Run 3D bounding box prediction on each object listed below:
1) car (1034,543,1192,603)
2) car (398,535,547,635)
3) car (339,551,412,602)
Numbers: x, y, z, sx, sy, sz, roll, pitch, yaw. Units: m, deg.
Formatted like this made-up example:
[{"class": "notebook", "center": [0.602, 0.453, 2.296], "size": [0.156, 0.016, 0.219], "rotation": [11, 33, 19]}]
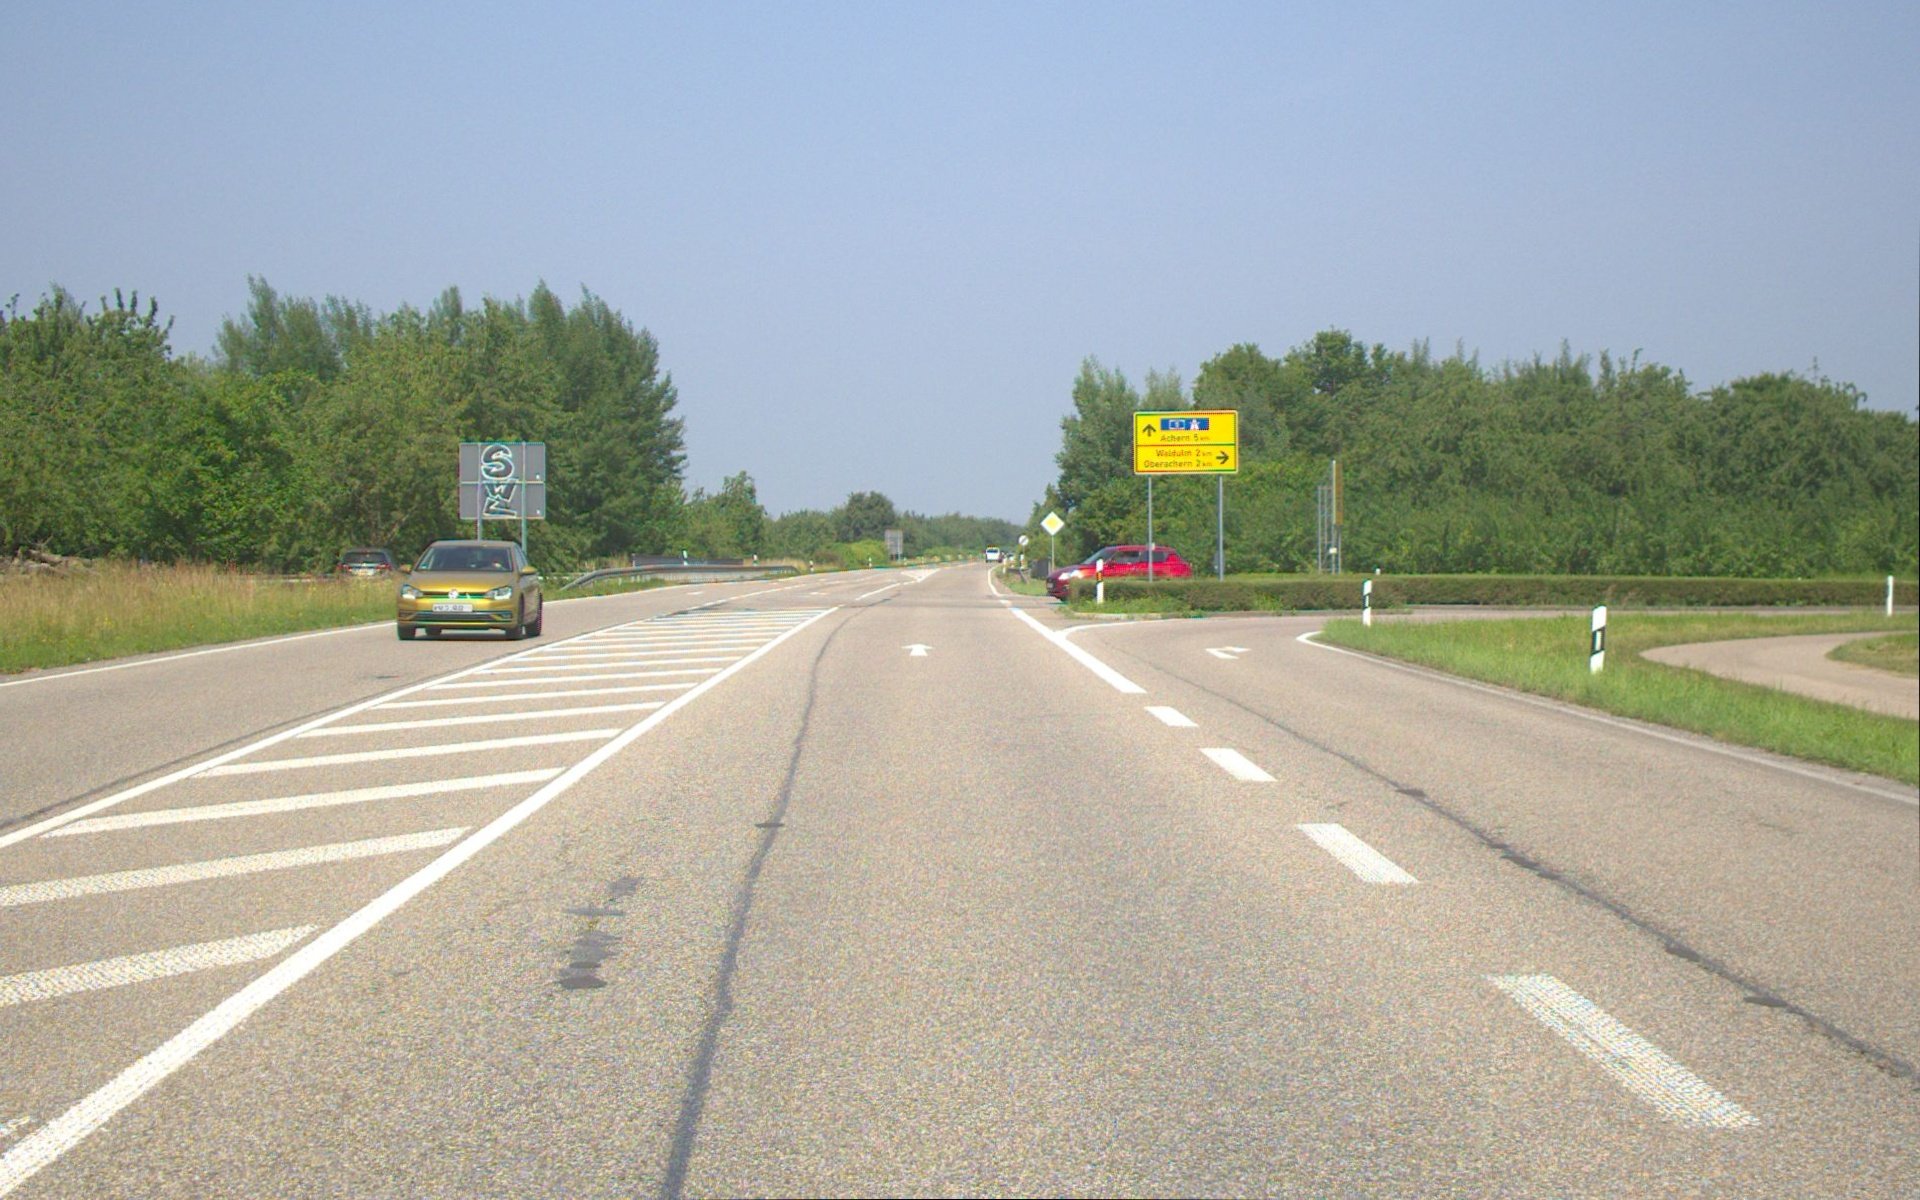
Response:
[{"class": "car", "center": [3.992, -0.717, 89.689], "size": [3.739, 1.487, 1.672], "rotation": [1, 1, -17]}, {"class": "car", "center": [-7.137, -0.242, 50.615], "size": [1.697, 1.411, 3.825], "rotation": [0, 1, -1]}, {"class": "car", "center": [-16.868, -0.686, 99.369], "size": [1.704, 1.418, 4.044], "rotation": [0, 1, -5]}]
